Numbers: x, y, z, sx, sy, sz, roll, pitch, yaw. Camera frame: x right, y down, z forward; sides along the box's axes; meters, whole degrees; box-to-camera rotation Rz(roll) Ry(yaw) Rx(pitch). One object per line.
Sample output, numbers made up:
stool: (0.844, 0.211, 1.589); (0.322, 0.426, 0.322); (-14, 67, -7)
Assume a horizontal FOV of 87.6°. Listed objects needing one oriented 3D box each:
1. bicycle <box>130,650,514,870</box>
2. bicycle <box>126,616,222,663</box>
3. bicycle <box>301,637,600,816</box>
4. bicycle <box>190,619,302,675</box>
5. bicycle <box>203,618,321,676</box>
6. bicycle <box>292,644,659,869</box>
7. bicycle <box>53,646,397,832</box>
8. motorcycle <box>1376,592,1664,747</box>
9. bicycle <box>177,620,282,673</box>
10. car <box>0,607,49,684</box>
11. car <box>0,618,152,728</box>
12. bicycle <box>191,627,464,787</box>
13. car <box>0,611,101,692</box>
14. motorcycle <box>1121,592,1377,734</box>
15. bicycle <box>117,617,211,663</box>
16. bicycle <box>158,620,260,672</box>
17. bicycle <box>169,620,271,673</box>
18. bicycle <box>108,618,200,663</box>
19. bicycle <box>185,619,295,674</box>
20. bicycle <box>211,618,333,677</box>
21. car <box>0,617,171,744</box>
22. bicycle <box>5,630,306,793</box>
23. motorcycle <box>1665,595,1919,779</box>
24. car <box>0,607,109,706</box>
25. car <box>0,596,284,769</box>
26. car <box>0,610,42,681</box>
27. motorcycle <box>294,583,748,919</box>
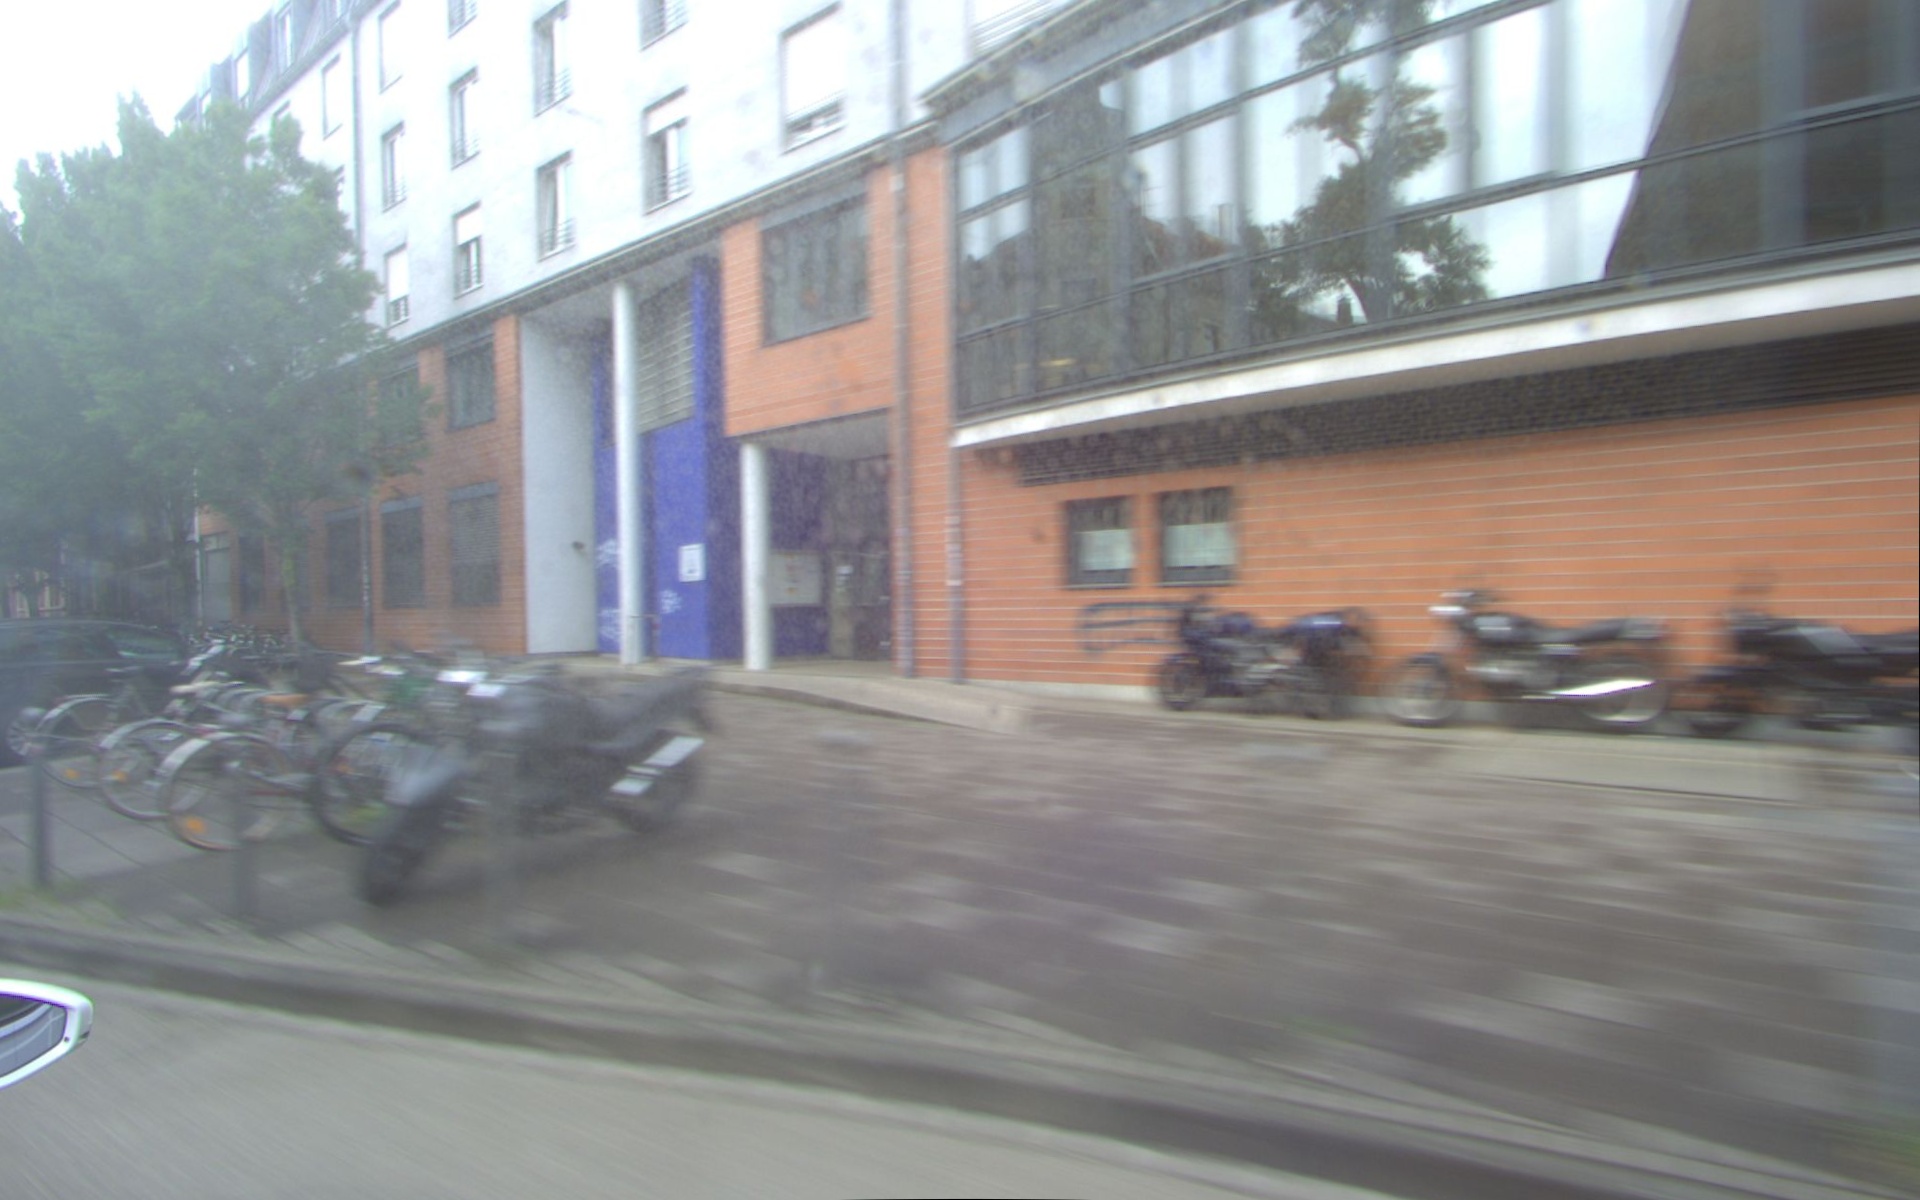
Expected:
bicycle: (-3.891, 0.900, 6.293); (0.604, 1.057, 1.922); (-2, 0, 35)
bicycle: (-19.146, 0.947, 24.414); (0.558, 1.106, 1.746); (-2, -1, 38)
bicycle: (-3.760, 0.874, 7.571); (0.604, 1.091, 1.922); (-2, 0, 35)
bicycle: (-14.833, 0.958, 20.843); (0.536, 1.106, 1.829); (-2, -1, 38)
bicycle: (-14.178, 0.931, 20.385); (0.536, 1.106, 1.888); (-2, -1, 38)
bicycle: (-2.918, 0.874, 6.277); (0.604, 1.076, 2.002); (-2, 0, 35)
bicycle: (-5.201, 0.917, 7.228); (0.604, 1.057, 1.877); (-2, 0, 35)
motorcycle: (4.643, 0.537, 8.405); (2.045, 1.159, 0.598); (-1, 1, 39)
bicycle: (-15.876, 0.993, 21.794); (0.558, 1.106, 1.746); (-2, -1, 38)
car: (-21.233, 0.990, 20.163); (1.737, 1.606, 4.058); (-1, 0, 8)
car: (-14.591, 1.049, 14.750); (1.839, 1.563, 3.987); (0, -2, 8)
bicycle: (-5.403, 0.856, 8.676); (0.604, 1.156, 1.877); (-2, 0, 35)
car: (-19.026, 1.006, 19.073); (1.649, 1.506, 4.059); (-1, 0, 3)
motorcycle: (2.785, 0.554, 9.777); (2.181, 1.219, 1.023); (0, 2, 38)
bicycle: (-19.867, 0.979, 25.015); (0.558, 1.106, 1.746); (-2, -1, 38)
bicycle: (-16.956, 1.024, 22.640); (0.558, 1.106, 1.746); (-2, -1, 38)
bicycle: (-16.456, 1.018, 22.307); (0.558, 1.106, 1.746); (-2, -1, 38)
bicycle: (-20.443, 1.017, 25.424); (0.558, 1.106, 1.746); (-2, -1, 38)
bicycle: (-15.371, 0.972, 21.429); (0.558, 1.106, 1.829); (-2, -1, 38)
bicycle: (-13.708, 0.926, 20.013); (0.570, 1.106, 1.925); (-2, -1, 38)
car: (-12.368, 0.979, 12.694); (1.809, 1.518, 3.566); (0, 0, 3)
bicycle: (-6.785, 0.884, 8.553); (0.604, 1.156, 1.877); (-2, 0, 35)
motorcycle: (6.097, 0.551, 6.988); (0.593, 1.159, 1.874); (-2, 1, -26)
car: (-16.683, 0.961, 16.304); (1.867, 1.606, 4.058); (-1, 0, 8)
car: (-10.155, 0.829, 11.277); (1.827, 1.600, 4.284); (-1, 2, 6)
car: (-23.070, 1.084, 22.060); (1.737, 1.606, 4.059); (-1, 0, 5)
motorcycle: (-2.237, 0.653, 5.441); (0.761, 1.448, 2.127); (-2, 0, 35)
